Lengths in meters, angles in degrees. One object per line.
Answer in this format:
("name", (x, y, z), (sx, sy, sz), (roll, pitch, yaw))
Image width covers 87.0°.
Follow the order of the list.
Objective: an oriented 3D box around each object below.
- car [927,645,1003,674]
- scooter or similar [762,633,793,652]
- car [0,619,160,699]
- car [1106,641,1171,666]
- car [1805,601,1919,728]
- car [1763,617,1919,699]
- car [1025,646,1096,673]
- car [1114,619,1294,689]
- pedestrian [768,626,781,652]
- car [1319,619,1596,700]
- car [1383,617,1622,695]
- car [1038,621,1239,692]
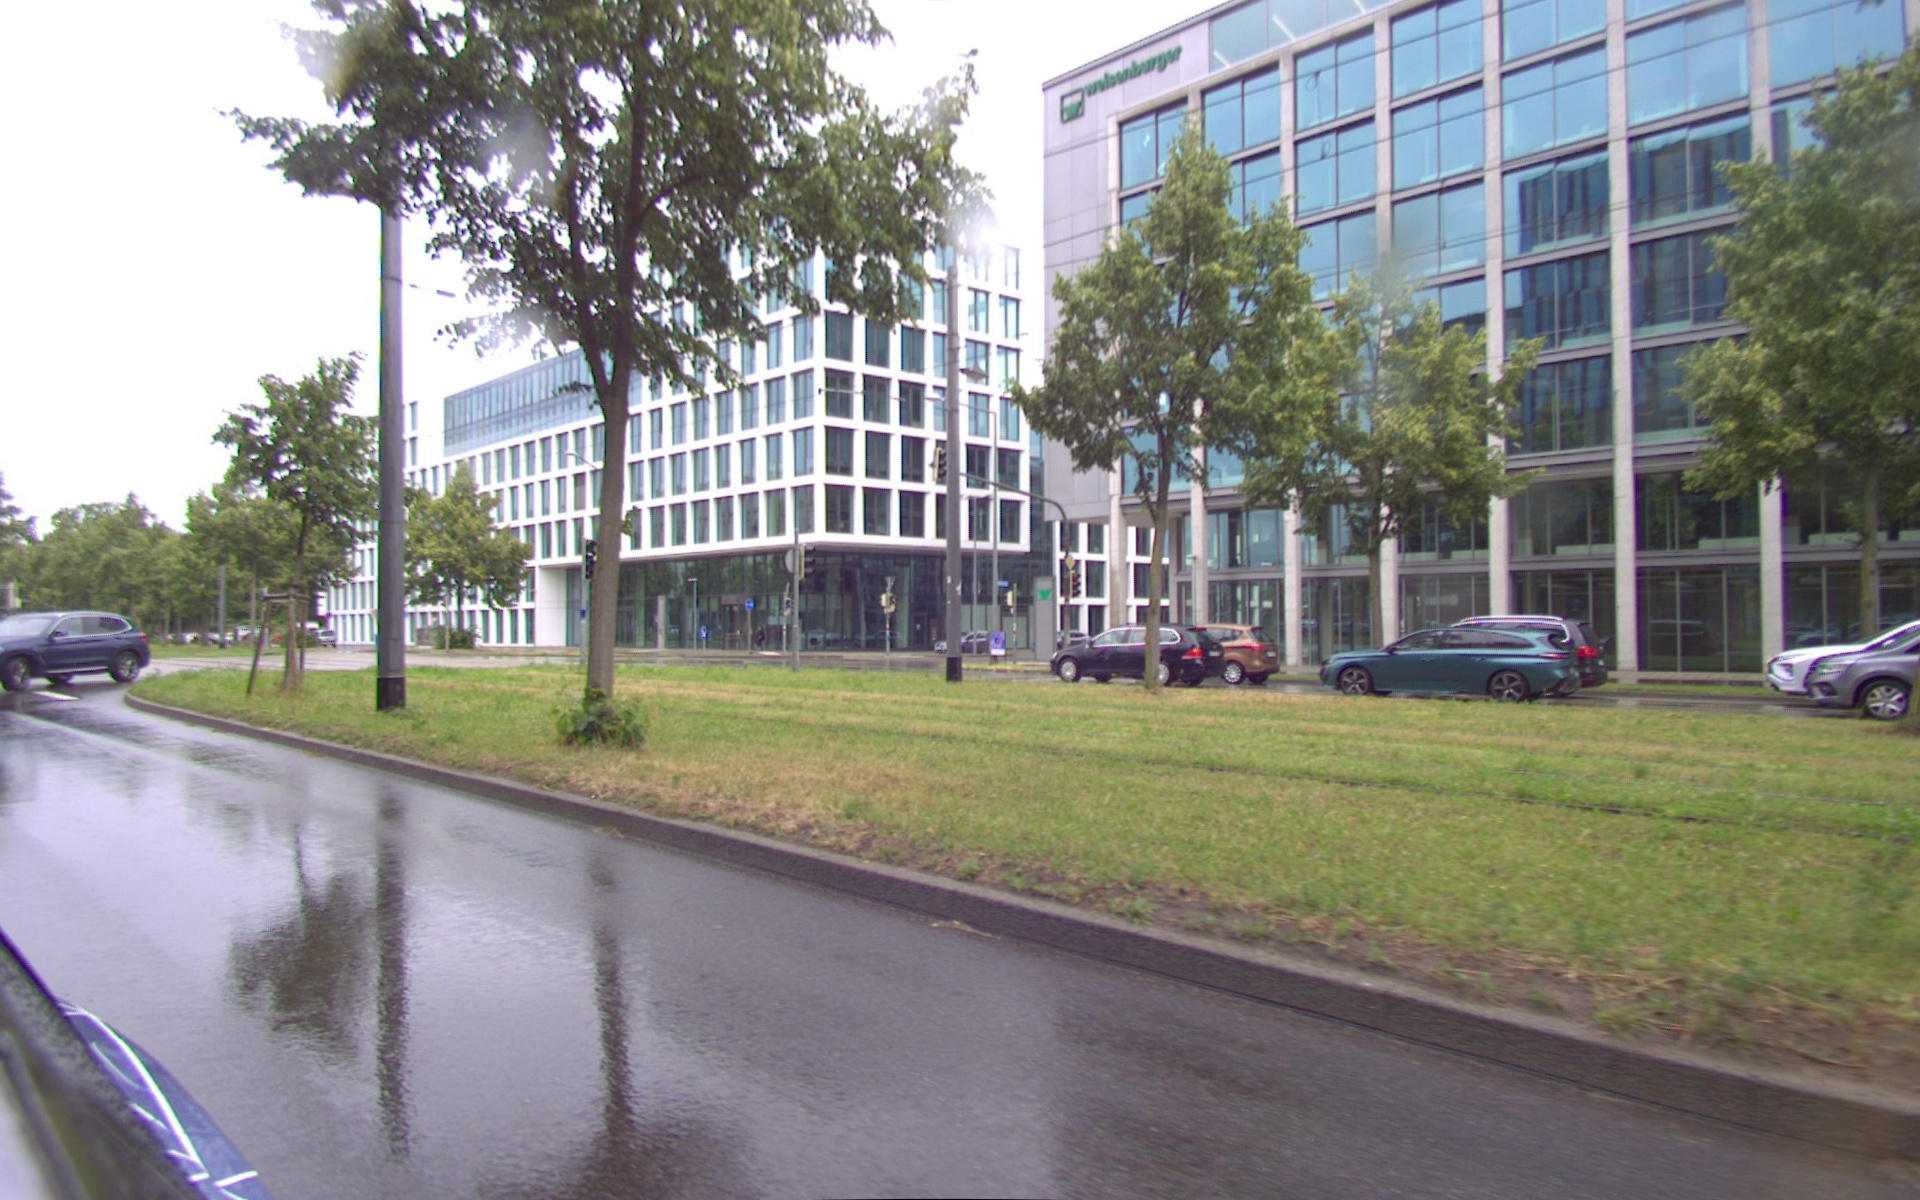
("car", (0.317, 3.402, 58.074), (4.030, 1.447, 1.890), (0, -4, -40))
("scooter or similar", (-11.901, 2.787, 66.224), (0.550, 1.161, 2.134), (-4, -4, 39))
("car", (-20.934, 1.297, 22.822), (1.904, 1.673, 4.711), (0, -2, 3))
("car", (11.708, 3.485, 66.223), (4.027, 1.447, 1.892), (0, -3, -36))
("car", (15.540, 0.925, 15.012), (4.540, 1.863, 1.931), (-3, -3, 41))
("car", (17.104, 1.011, 18.047), (4.267, 1.396, 1.931), (-4, -4, 39))
("car", (6.164, 3.632, 61.884), (4.027, 1.447, 1.892), (0, -3, -36))
("car", (6.423, 1.370, 26.871), (4.268, 1.707, 1.931), (-1, -2, 40))
("pedestrian", (-12.045, 2.546, 65.857), (0.546, 1.656, 0.626), (0, -1, 42))
("car", (9.560, 1.176, 19.636), (4.468, 1.396, 1.931), (-4, -4, 39))
("car", (11.818, 1.251, 22.185), (4.267, 1.552, 1.931), (-4, -4, 39))
("car", (4.277, 1.375, 24.695), (4.460, 1.571, 1.931), (-4, -3, 41))
